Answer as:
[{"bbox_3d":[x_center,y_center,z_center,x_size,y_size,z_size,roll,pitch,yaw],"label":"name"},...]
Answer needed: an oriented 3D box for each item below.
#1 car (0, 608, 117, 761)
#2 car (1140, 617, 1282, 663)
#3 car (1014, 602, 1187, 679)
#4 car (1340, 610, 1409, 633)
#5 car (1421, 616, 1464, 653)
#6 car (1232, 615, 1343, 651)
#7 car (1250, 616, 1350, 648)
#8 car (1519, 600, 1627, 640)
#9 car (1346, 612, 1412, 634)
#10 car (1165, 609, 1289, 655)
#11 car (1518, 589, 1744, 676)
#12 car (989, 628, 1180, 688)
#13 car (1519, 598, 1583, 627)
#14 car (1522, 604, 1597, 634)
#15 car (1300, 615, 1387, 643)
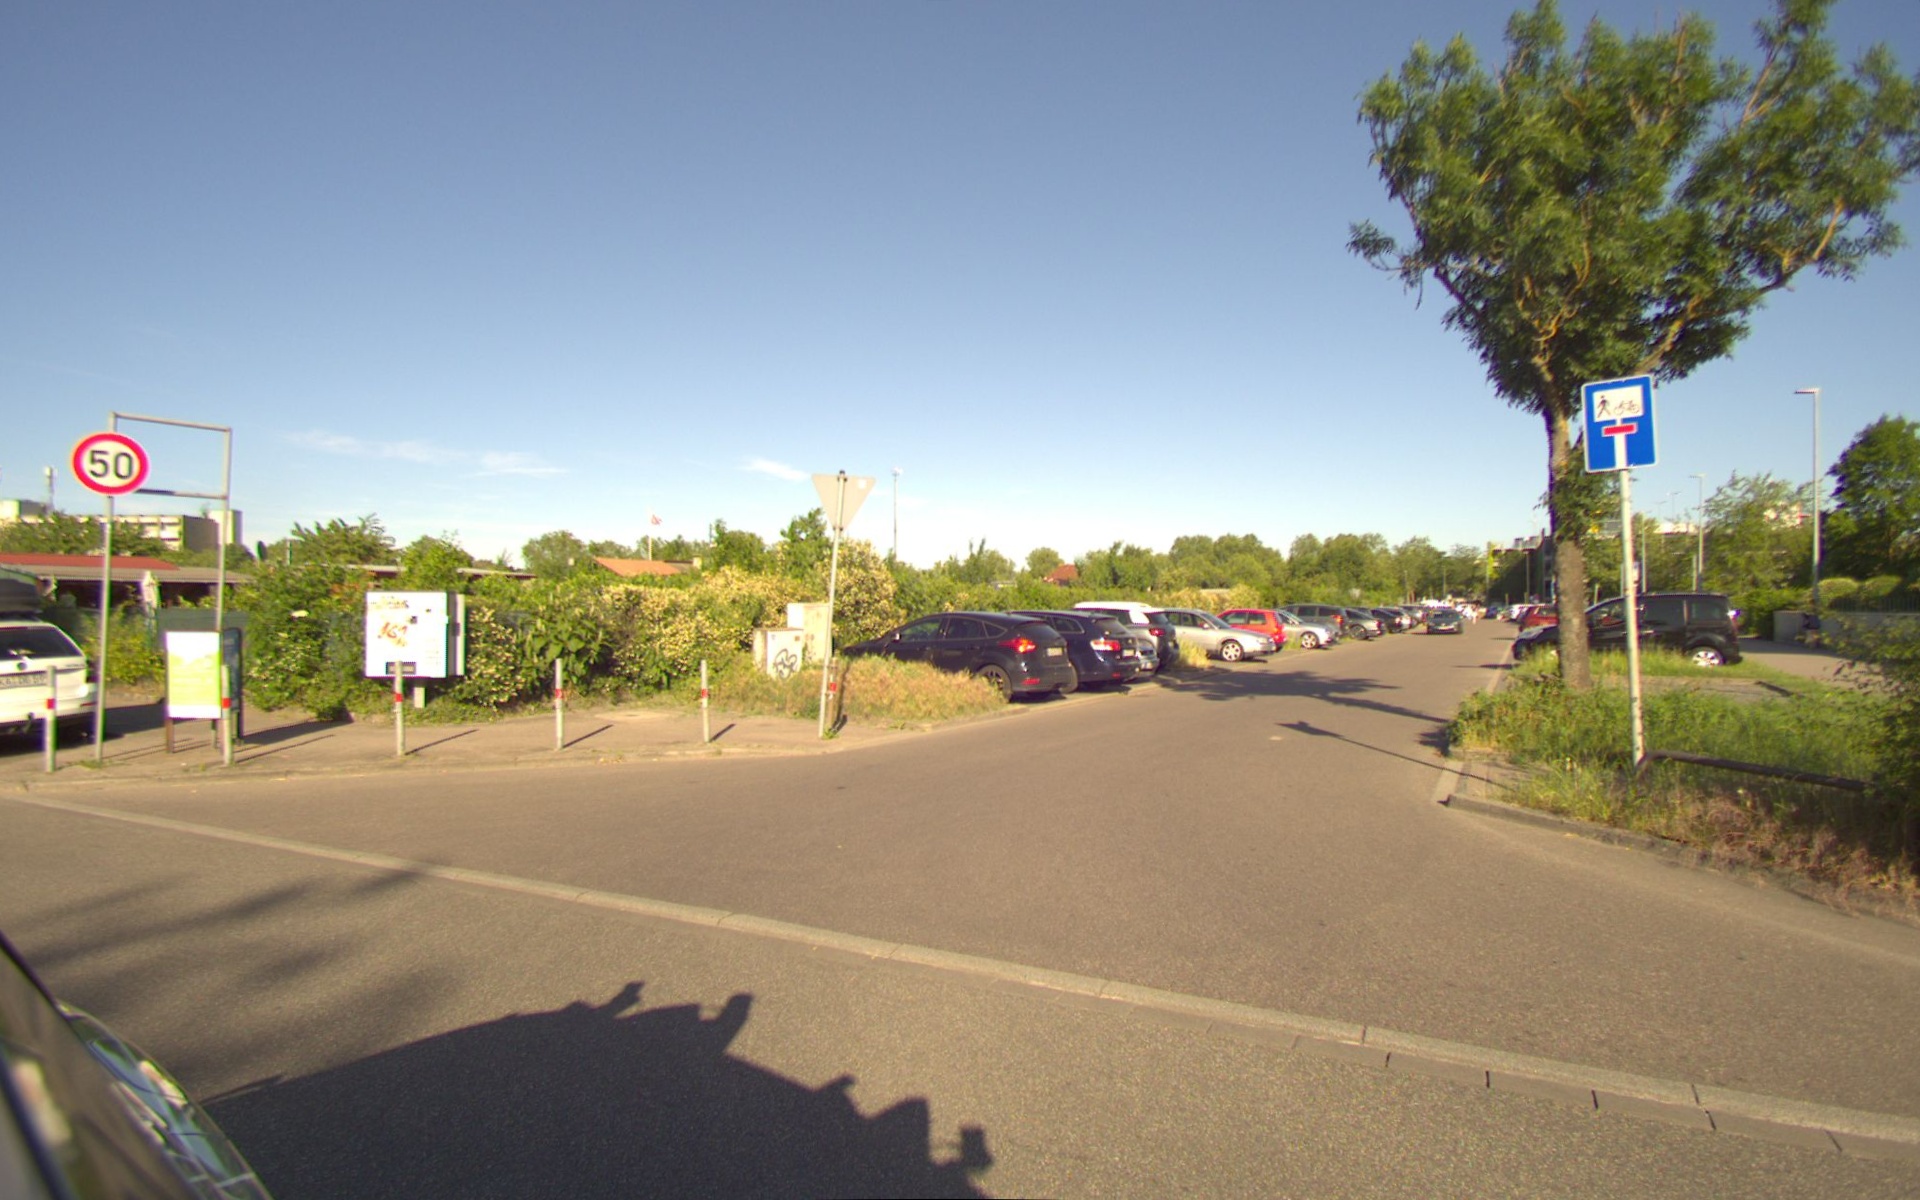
[{"bbox_3d":[-11.765,0.923,11.594,4.497,1.524,1.685,-1,2,29],"label":"car"},{"bbox_3d":[7.345,1.175,29.651,3.828,1.273,1.496,0,-3,28],"label":"car"},{"bbox_3d":[3.298,0.925,24.096,3.837,1.707,1.493,-1,-1,35],"label":"car"},{"bbox_3d":[24.543,1.269,59.885,3.670,1.273,1.496,0,-3,28],"label":"car"},{"bbox_3d":[27.545,1.932,57.719,1.991,2.029,3.960,-1,-1,29],"label":"car"},{"bbox_3d":[12.444,1.238,38.464,3.828,1.273,1.496,-1,-1,28],"label":"car"},{"bbox_3d":[14.375,1.347,42.788,3.828,1.273,1.496,0,-3,28],"label":"car"},{"bbox_3d":[26.967,0.868,44.701,3.983,1.714,1.980,-1,-1,29],"label":"car"},{"bbox_3d":[25.736,1.410,62.155,3.670,1.273,1.496,0,-3,28],"label":"car"},{"bbox_3d":[9.138,1.080,34.712,3.837,1.496,1.493,-1,-1,35],"label":"car"},{"bbox_3d":[14.963,0.698,22.764,4.094,1.803,1.493,-1,-1,35],"label":"car"},{"bbox_3d":[2.622,1.190,21.741,3.837,1.160,1.493,-1,-1,35],"label":"car"},{"bbox_3d":[43.213,0.933,74.078,3.983,2.029,1.980,-1,-1,29],"label":"car"},{"bbox_3d":[41.592,1.315,70.316,4.374,2.029,1.980,-1,-1,29],"label":"car"},{"bbox_3d":[18.512,1.397,48.899,3.828,1.273,1.496,0,-3,28],"label":"car"}]
